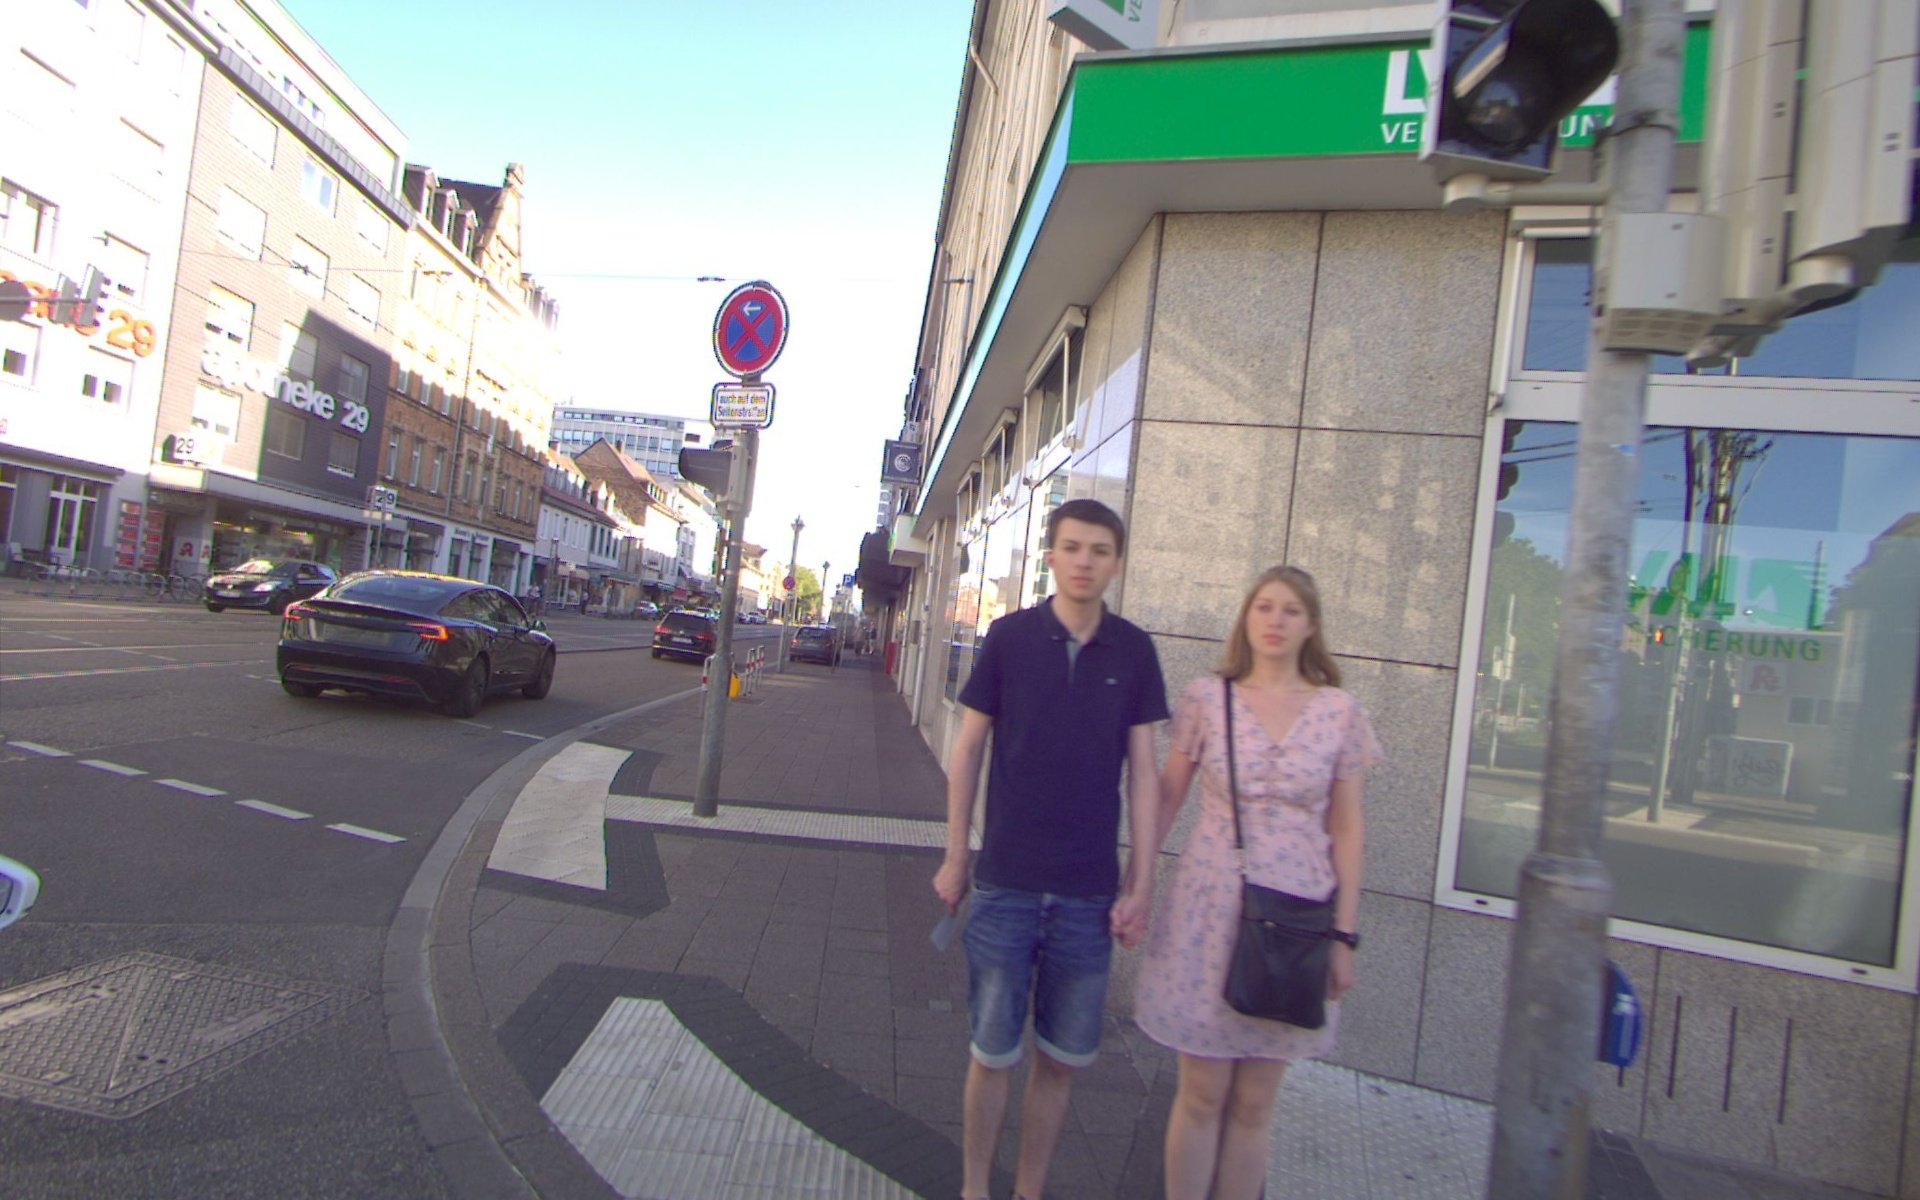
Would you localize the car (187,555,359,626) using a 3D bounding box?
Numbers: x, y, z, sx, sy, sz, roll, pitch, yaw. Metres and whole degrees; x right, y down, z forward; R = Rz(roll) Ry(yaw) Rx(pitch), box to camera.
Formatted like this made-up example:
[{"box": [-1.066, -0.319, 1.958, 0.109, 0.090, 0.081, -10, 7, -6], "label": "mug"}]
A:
[{"box": [-17.291, -0.170, 25.588, 1.688, 1.463, 4.139, 5, -2, -5], "label": "car"}]

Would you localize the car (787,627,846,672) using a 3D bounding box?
[{"box": [-5.567, 1.949, 39.542, 1.820, 1.478, 4.304, 6, -3, -3], "label": "car"}]

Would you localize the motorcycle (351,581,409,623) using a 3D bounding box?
[{"box": [-17.456, 0.075, 30.343, 0.561, 1.132, 2.118, 6, -3, -5], "label": "motorcycle"}]

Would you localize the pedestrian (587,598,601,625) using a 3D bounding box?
[{"box": [-26.181, 0.809, 71.927, 0.647, 1.844, 0.642, 7, -2, -11], "label": "pedestrian"}]

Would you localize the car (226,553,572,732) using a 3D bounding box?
[{"box": [-6.084, 0.469, 11.615, 1.844, 1.443, 4.362, 8, -2, -7], "label": "car"}]

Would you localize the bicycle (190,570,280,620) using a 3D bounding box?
[{"box": [-21.437, -0.147, 29.778, 1.909, 1.206, 0.773, 8, -2, -10], "label": "bicycle"}]

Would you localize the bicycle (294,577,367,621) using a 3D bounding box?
[{"box": [-21.335, -0.027, 34.130, 1.908, 1.203, 0.551, 8, -2, -9], "label": "bicycle"}]

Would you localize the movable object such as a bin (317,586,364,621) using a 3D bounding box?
[{"box": [-21.780, 0.134, 35.396, 1.084, 1.075, 0.699, 9, -2, -5], "label": "movable object such as a bin"}]

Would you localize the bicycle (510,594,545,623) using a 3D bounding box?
[{"box": [-21.285, 0.433, 49.557, 0.739, 1.307, 2.026, 8, -2, -3], "label": "bicycle"}]

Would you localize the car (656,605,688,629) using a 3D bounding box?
[{"box": [-22.163, 1.312, 77.524, 1.624, 1.583, 2.829, 7, -2, -5], "label": "car"}]

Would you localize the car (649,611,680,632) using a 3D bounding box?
[{"box": [-26.948, 1.967, 91.851, 1.651, 1.562, 3.745, 9, -3, -3], "label": "car"}]

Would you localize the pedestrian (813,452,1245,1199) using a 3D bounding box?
[{"box": [0.185, 0.678, 2.288, 0.669, 1.863, 0.642, 6, -1, 18], "label": "pedestrian"}]

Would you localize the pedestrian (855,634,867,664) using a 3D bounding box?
[{"box": [-5.957, 2.925, 60.205, 0.548, 1.734, 0.954, 5, -2, -7], "label": "pedestrian"}]

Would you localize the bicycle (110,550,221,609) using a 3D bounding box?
[{"box": [-21.255, -0.531, 26.962, 2.076, 1.237, 0.773, 9, -2, -10], "label": "bicycle"}]

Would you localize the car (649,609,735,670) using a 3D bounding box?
[{"box": [-7.667, 1.158, 29.153, 1.737, 1.434, 4.353, 8, -3, -8], "label": "car"}]

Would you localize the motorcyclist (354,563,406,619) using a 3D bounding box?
[{"box": [-17.497, -0.256, 30.380, 0.791, 1.576, 1.146, 6, -2, -4], "label": "motorcyclist"}]

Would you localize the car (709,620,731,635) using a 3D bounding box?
[{"box": [-30.027, 3.460, 125.892, 1.743, 1.525, 3.863, 7, -3, -2], "label": "car"}]

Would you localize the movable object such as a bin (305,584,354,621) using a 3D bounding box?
[{"box": [-21.724, 0.102, 34.672, 1.084, 1.084, 0.735, 8, -2, -5], "label": "movable object such as a bin"}]

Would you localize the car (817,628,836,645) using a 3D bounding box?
[{"box": [-17.050, 4.624, 128.855, 2.055, 1.892, 3.753, 8, -2, -5], "label": "car"}]

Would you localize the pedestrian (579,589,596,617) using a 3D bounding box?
[{"box": [-25.213, 0.235, 68.065, 0.603, 1.795, 0.720, 7, -2, 8], "label": "pedestrian"}]

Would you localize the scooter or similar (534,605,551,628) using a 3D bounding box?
[{"box": [-23.316, 0.923, 56.172, 0.359, 1.215, 1.476, 9, -2, -8], "label": "scooter or similar"}]

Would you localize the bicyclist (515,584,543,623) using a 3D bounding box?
[{"box": [-21.230, 0.185, 49.556, 0.739, 1.748, 1.146, 7, -2, -4], "label": "bicyclist"}]

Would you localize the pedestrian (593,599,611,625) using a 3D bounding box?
[{"box": [-25.944, 0.858, 72.856, 0.873, 1.796, 0.687, 7, -1, -7], "label": "pedestrian"}]

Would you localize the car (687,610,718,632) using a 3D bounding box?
[{"box": [-22.866, 1.885, 89.371, 1.862, 1.612, 4.264, 6, -3, -5], "label": "car"}]

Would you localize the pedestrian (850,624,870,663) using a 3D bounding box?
[{"box": [-4.871, 2.130, 49.164, 0.768, 1.772, 1.032, 7, -2, -4], "label": "pedestrian"}]

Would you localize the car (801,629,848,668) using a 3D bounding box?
[{"box": [-5.958, 2.139, 44.651, 1.720, 1.478, 4.296, 7, -3, -5], "label": "car"}]

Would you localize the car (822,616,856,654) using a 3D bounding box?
[{"box": [-8.782, 2.561, 73.190, 2.139, 2.490, 5.361, 5, -2, -6], "label": "car"}]

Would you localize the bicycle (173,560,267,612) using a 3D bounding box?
[{"box": [-21.306, -0.391, 28.996, 1.909, 1.185, 0.773, 9, -2, -10], "label": "bicycle"}]

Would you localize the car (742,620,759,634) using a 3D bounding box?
[{"box": [-33.711, 4.391, 162.252, 1.980, 1.983, 4.725, 7, -3, -5], "label": "car"}]

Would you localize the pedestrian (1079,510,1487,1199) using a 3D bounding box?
[{"box": [0.712, 0.750, 2.321, 0.637, 1.778, 0.575, 6, -2, 18], "label": "pedestrian"}]
